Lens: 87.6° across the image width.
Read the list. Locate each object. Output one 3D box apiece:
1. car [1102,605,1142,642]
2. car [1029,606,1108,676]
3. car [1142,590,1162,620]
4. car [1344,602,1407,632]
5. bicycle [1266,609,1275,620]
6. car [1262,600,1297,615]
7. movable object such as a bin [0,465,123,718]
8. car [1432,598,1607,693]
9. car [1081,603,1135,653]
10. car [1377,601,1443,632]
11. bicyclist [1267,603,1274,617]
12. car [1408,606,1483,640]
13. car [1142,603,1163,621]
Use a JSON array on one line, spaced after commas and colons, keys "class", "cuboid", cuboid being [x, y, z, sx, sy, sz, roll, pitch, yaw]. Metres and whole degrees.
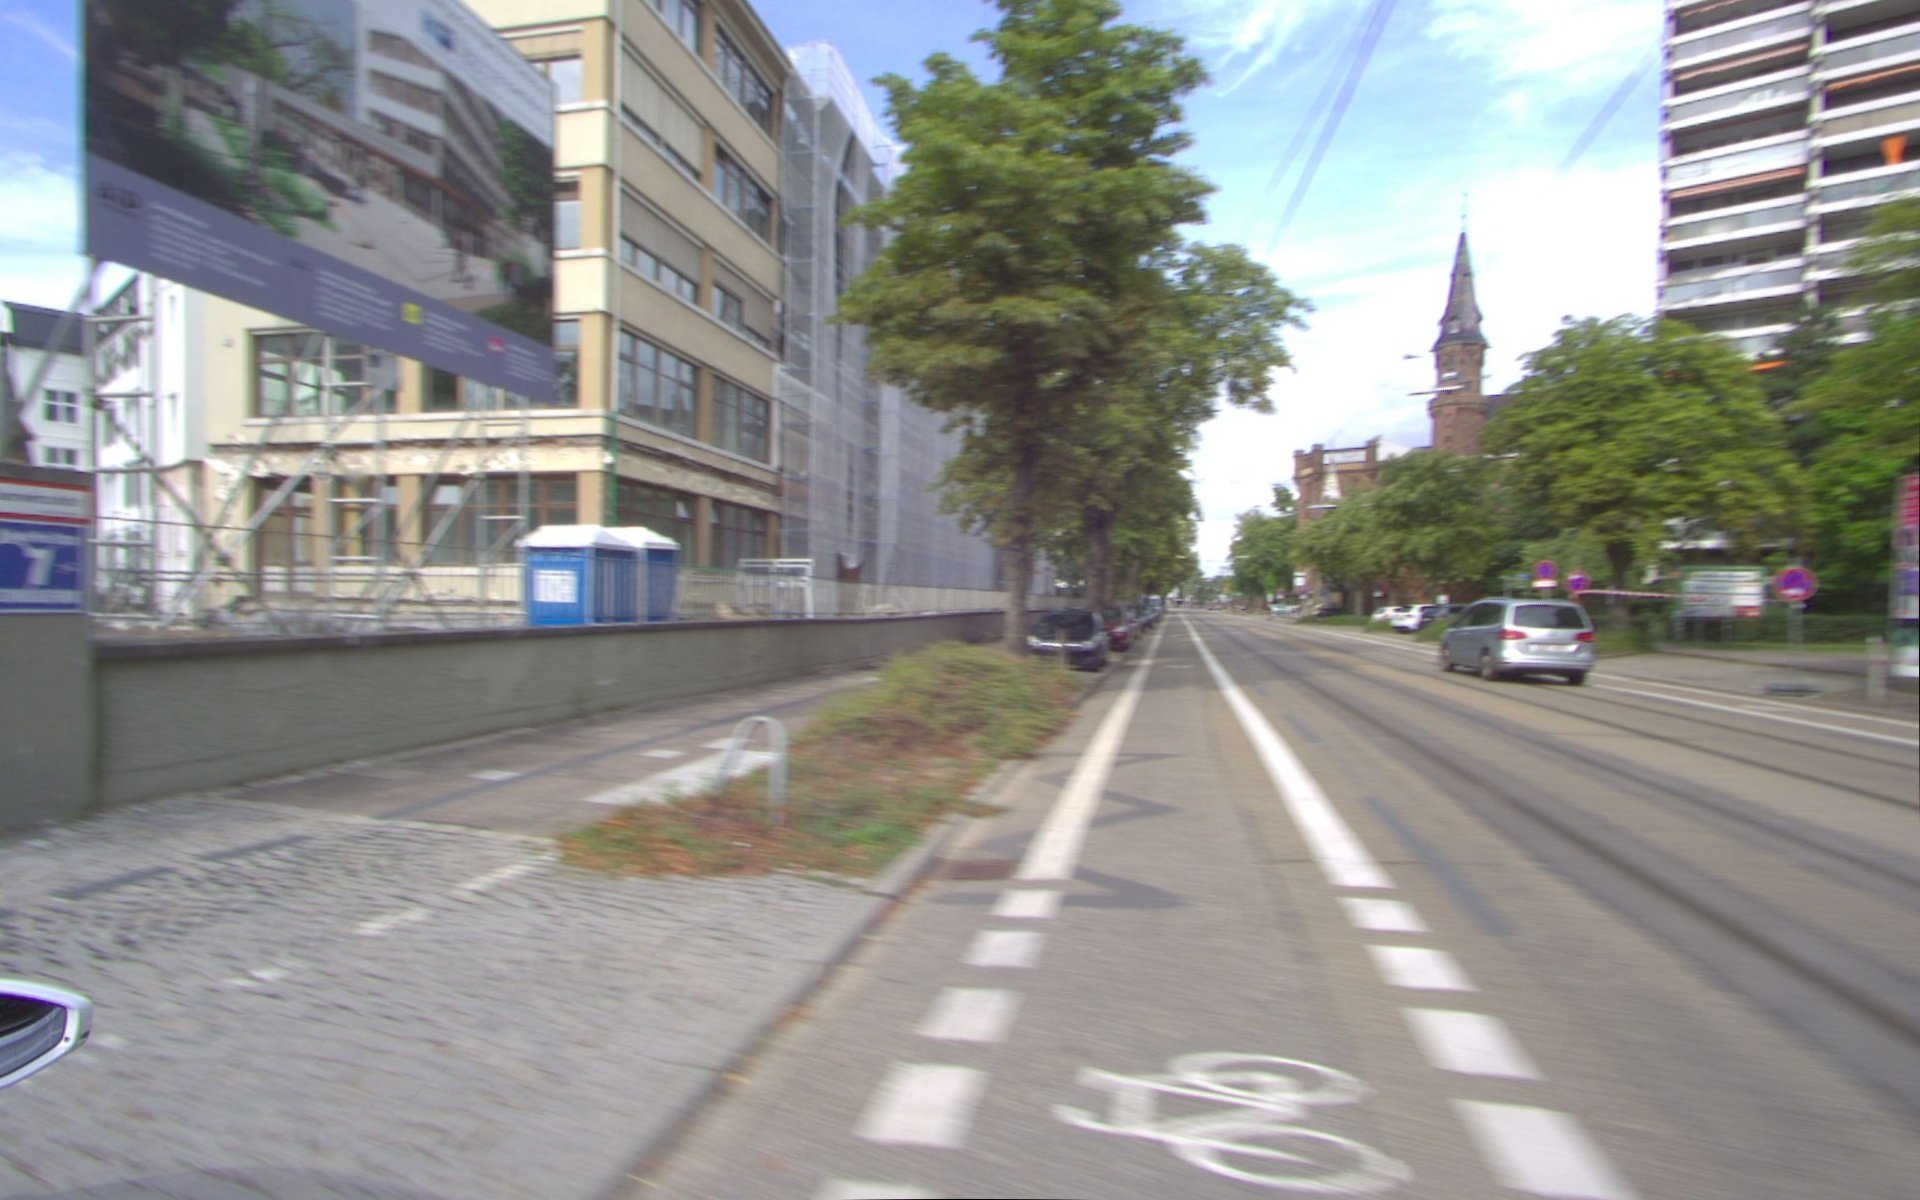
[{"class": "car", "cuboid": [6.943, 0.970, 42.948, 1.565, 1.421, 3.960, 2, 1, 10]}, {"class": "car", "cuboid": [2.628, 0.895, 23.567, 1.565, 1.421, 3.960, 2, 1, 10]}, {"class": "car", "cuboid": [18.400, 0.493, 96.065, 1.693, 2.740, 5.467, 2, 1, 10]}, {"class": "car", "cuboid": [24.140, 1.001, 58.132, 3.599, 1.624, 1.671, 1, 1, -34]}, {"class": "bicycle", "cuboid": [31.756, 1.481, 102.432, 0.583, 1.057, 1.976, 2, 1, 10]}, {"class": "car", "cuboid": [41.527, 0.980, 130.260, 3.922, 1.716, 1.999, 2, 1, 7]}, {"class": "movable object such as a bin", "cuboid": [-10.855, -0.120, 10.174, 3.008, 2.475, 2.491, 2, 1, 22]}, {"class": "car", "cuboid": [11.816, 0.863, 21.526, 1.783, 1.724, 4.614, 2, 1, 10]}, {"class": "car", "cuboid": [5.083, 0.890, 34.016, 1.610, 1.516, 3.960, 2, 1, 11]}, {"class": "car", "cuboid": [25.070, 0.942, 55.743, 3.599, 1.624, 1.671, 1, 1, -34]}, {"class": "bicyclist", "cuboid": [31.773, 1.028, 102.420, 0.583, 1.479, 0.874, 2, 1, 10]}, {"class": "car", "cuboid": [23.876, 1.136, 49.227, 3.599, 1.624, 1.671, 1, 1, -34]}, {"class": "car", "cuboid": [15.915, 0.960, 82.934, 1.565, 1.421, 3.960, 2, 1, 10]}]
